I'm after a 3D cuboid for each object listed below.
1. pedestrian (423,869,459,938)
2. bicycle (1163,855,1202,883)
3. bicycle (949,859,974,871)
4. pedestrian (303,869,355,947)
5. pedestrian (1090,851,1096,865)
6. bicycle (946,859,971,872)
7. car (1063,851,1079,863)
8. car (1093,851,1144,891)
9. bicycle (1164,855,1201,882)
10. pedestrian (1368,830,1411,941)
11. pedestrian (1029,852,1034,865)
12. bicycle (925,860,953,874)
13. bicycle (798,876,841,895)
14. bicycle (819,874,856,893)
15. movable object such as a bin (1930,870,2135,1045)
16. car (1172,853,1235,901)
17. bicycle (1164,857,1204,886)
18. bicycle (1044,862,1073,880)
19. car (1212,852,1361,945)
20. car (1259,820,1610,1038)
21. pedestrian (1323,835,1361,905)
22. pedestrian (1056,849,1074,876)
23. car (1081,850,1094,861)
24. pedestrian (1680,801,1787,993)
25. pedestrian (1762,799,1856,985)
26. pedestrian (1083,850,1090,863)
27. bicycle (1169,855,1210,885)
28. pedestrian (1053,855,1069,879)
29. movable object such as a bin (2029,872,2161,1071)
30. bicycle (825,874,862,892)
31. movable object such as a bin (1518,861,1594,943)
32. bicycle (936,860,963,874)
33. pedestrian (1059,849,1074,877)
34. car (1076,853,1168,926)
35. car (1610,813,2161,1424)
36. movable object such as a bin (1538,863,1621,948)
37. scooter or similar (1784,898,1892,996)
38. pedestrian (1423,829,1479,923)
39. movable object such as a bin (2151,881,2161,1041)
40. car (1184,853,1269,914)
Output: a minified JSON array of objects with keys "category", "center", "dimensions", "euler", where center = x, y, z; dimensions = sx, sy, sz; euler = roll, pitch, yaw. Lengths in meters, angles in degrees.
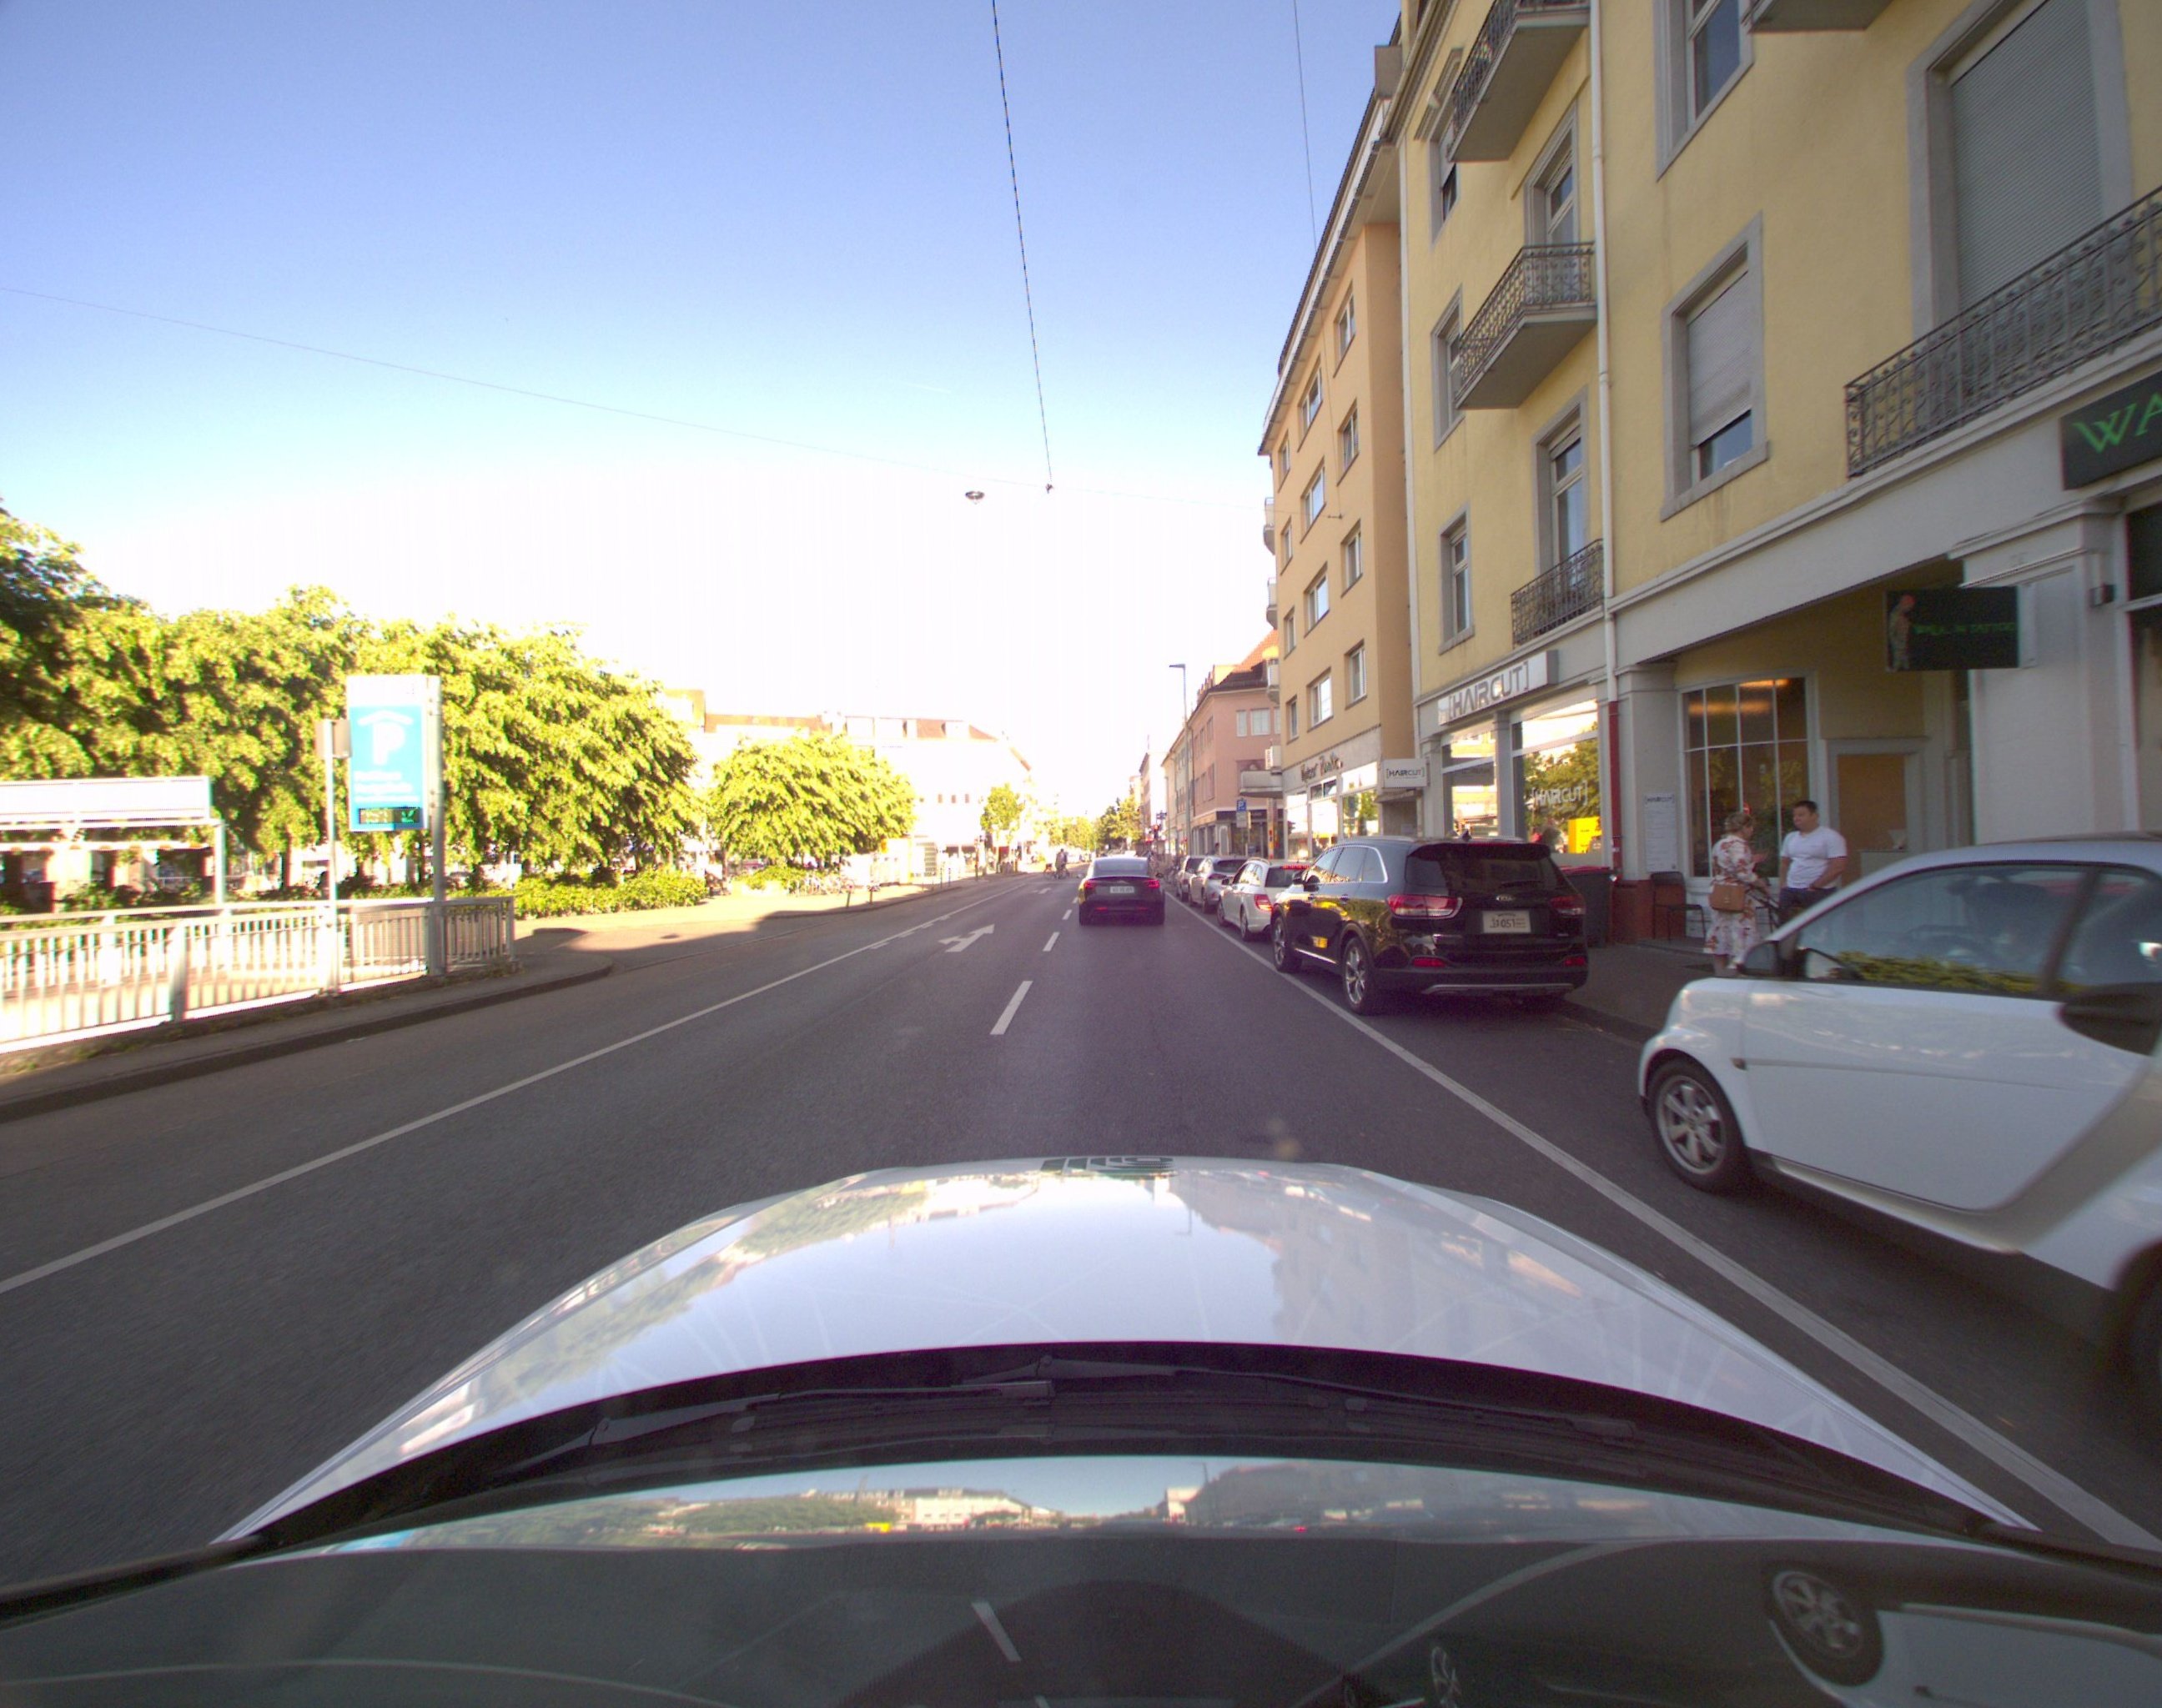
[{"category":"pedestrian","center":[-17.745,1.360,22.591],"dimensions":[0.582,1.856,0.598],"euler":[0,0,-17]},{"category":"bicycle","center":[4.504,0.673,36.201],"dimensions":[1.622,1.160,0.433],"euler":[-3,0,1]},{"category":"bicycle","center":[-11.058,1.015,75.411],"dimensions":[2.074,1.104,0.806],"euler":[-1,0,2]},{"category":"pedestrian","center":[-18.451,1.309,19.996],"dimensions":[0.578,1.856,0.733],"euler":[0,0,5]},{"category":"pedestrian","center":[1.781,0.580,118.680],"dimensions":[0.620,2.013,0.562],"euler":[-1,0,27]},{"category":"bicycle","center":[-11.040,1.056,73.214],"dimensions":[2.074,1.104,0.806],"euler":[-1,0,2]},{"category":"car","center":[-1.502,0.452,123.183],"dimensions":[1.986,1.541,4.002],"euler":[-4,0,2]},{"category":"car","center":[1.494,0.633,31.842],"dimensions":[1.842,1.455,3.789],"euler":[-1,0,3]},{"category":"bicycle","center":[4.658,0.659,37.396],"dimensions":[1.621,1.160,0.433],"euler":[-3,0,3]},{"category":"pedestrian","center":[5.002,0.504,13.216],"dimensions":[0.436,1.762,0.476],"euler":[0,-1,-34]},{"category":"pedestrian","center":[-7.739,0.766,126.530],"dimensions":[0.623,2.013,0.708],"euler":[-1,0,2]},{"category":"bicycle","center":[-11.493,1.061,65.926],"dimensions":[2.074,1.104,0.806],"euler":[-1,0,2]},{"category":"bicycle","center":[-10.643,1.275,33.174],"dimensions":[1.645,0.769,0.476],"euler":[0,0,11]},{"category":"bicycle","center":[-10.320,1.243,34.537],"dimensions":[1.465,0.769,0.442],"euler":[0,0,6]},{"category":"movable object such as a bin","center":[6.399,0.670,5.512],"dimensions":[0.603,1.066,0.620],"euler":[-4,0,2]},{"category":"car","center":[3.866,0.682,26.188],"dimensions":[1.615,1.394,3.889],"euler":[-1,0,3]},{"category":"bicycle","center":[4.465,0.743,35.234],"dimensions":[1.622,1.160,0.433],"euler":[-3,0,1]},{"category":"bicycle","center":[-1.319,0.976,47.750],"dimensions":[1.603,1.045,0.593],"euler":[0,0,17]},{"category":"car","center":[3.625,0.707,15.174],"dimensions":[1.732,1.447,4.465],"euler":[-1,0,1]},{"category":"car","center":[3.367,0.600,8.878],"dimensions":[1.750,1.736,4.570],"euler":[-1,0,-1]},{"category":"pedestrian","center":[6.321,0.382,19.751],"dimensions":[0.659,1.633,0.629],"euler":[-3,-1,6]},{"category":"pedestrian","center":[-0.984,0.535,50.622],"dimensions":[0.981,1.636,0.738],"euler":[-1,0,6]},{"category":"car","center":[1.021,0.179,131.873],"dimensions":[2.043,1.727,4.653],"euler":[-1,0,0]},{"category":"pedestrian","center":[5.906,0.376,7.392],"dimensions":[0.448,1.660,0.593],"euler":[-2,0,3]},{"category":"pedestrian","center":[6.763,0.338,7.575],"dimensions":[0.339,1.660,0.519],"euler":[-2,0,-27]},{"category":"pedestrian","center":[0.792,0.351,120.234],"dimensions":[0.754,2.013,0.792],"euler":[-1,0,-24]},{"category":"bicycle","center":[4.528,0.668,34.084],"dimensions":[1.622,1.160,0.433],"euler":[-3,0,1]},{"category":"pedestrian","center":[-1.189,0.763,47.984],"dimensions":[0.737,1.440,0.585],"euler":[0,0,20]},{"category":"movable object such as a bin","center":[6.356,0.669,4.866],"dimensions":[0.603,1.066,0.620],"euler":[-4,0,2]},{"category":"bicycle","center":[-10.243,1.235,35.095],"dimensions":[1.466,0.769,0.475],"euler":[0,0,5]},{"category":"movable object such as a bin","center":[6.565,0.651,11.289],"dimensions":[0.656,1.041,0.620],"euler":[-4,0,5]},{"category":"bicycle","center":[-11.047,1.068,68.434],"dimensions":[2.074,1.104,0.806],"euler":[-1,0,2]},{"category":"pedestrian","center":[-0.915,0.576,51.698],"dimensions":[0.896,1.725,0.745],"euler":[-1,0,6]},{"category":"car","center":[0.941,0.709,18.340],"dimensions":[1.842,1.455,3.789],"euler":[-1,0,3]},{"category":"car","center":[3.331,0.646,2.797],"dimensions":[1.267,1.518,2.796],"euler":[-1,0,2]},{"category":"movable object such as a bin","center":[6.501,0.658,10.639],"dimensions":[0.664,1.025,0.620],"euler":[-4,0,5]},{"category":"scooter or similar","center":[6.385,0.777,6.892],"dimensions":[0.522,0.758,0.473],"euler":[-4,-1,27]},{"category":"pedestrian","center":[6.609,0.383,14.570],"dimensions":[0.694,1.633,0.532],"euler":[-2,0,0]},{"category":"movable object such as a bin","center":[6.326,0.667,4.251],"dimensions":[0.603,1.066,0.620],"euler":[-4,0,2]},{"category":"car","center":[3.754,0.707,21.603],"dimensions":[1.664,1.427,4.079],"euler":[-1,0,2]}]
